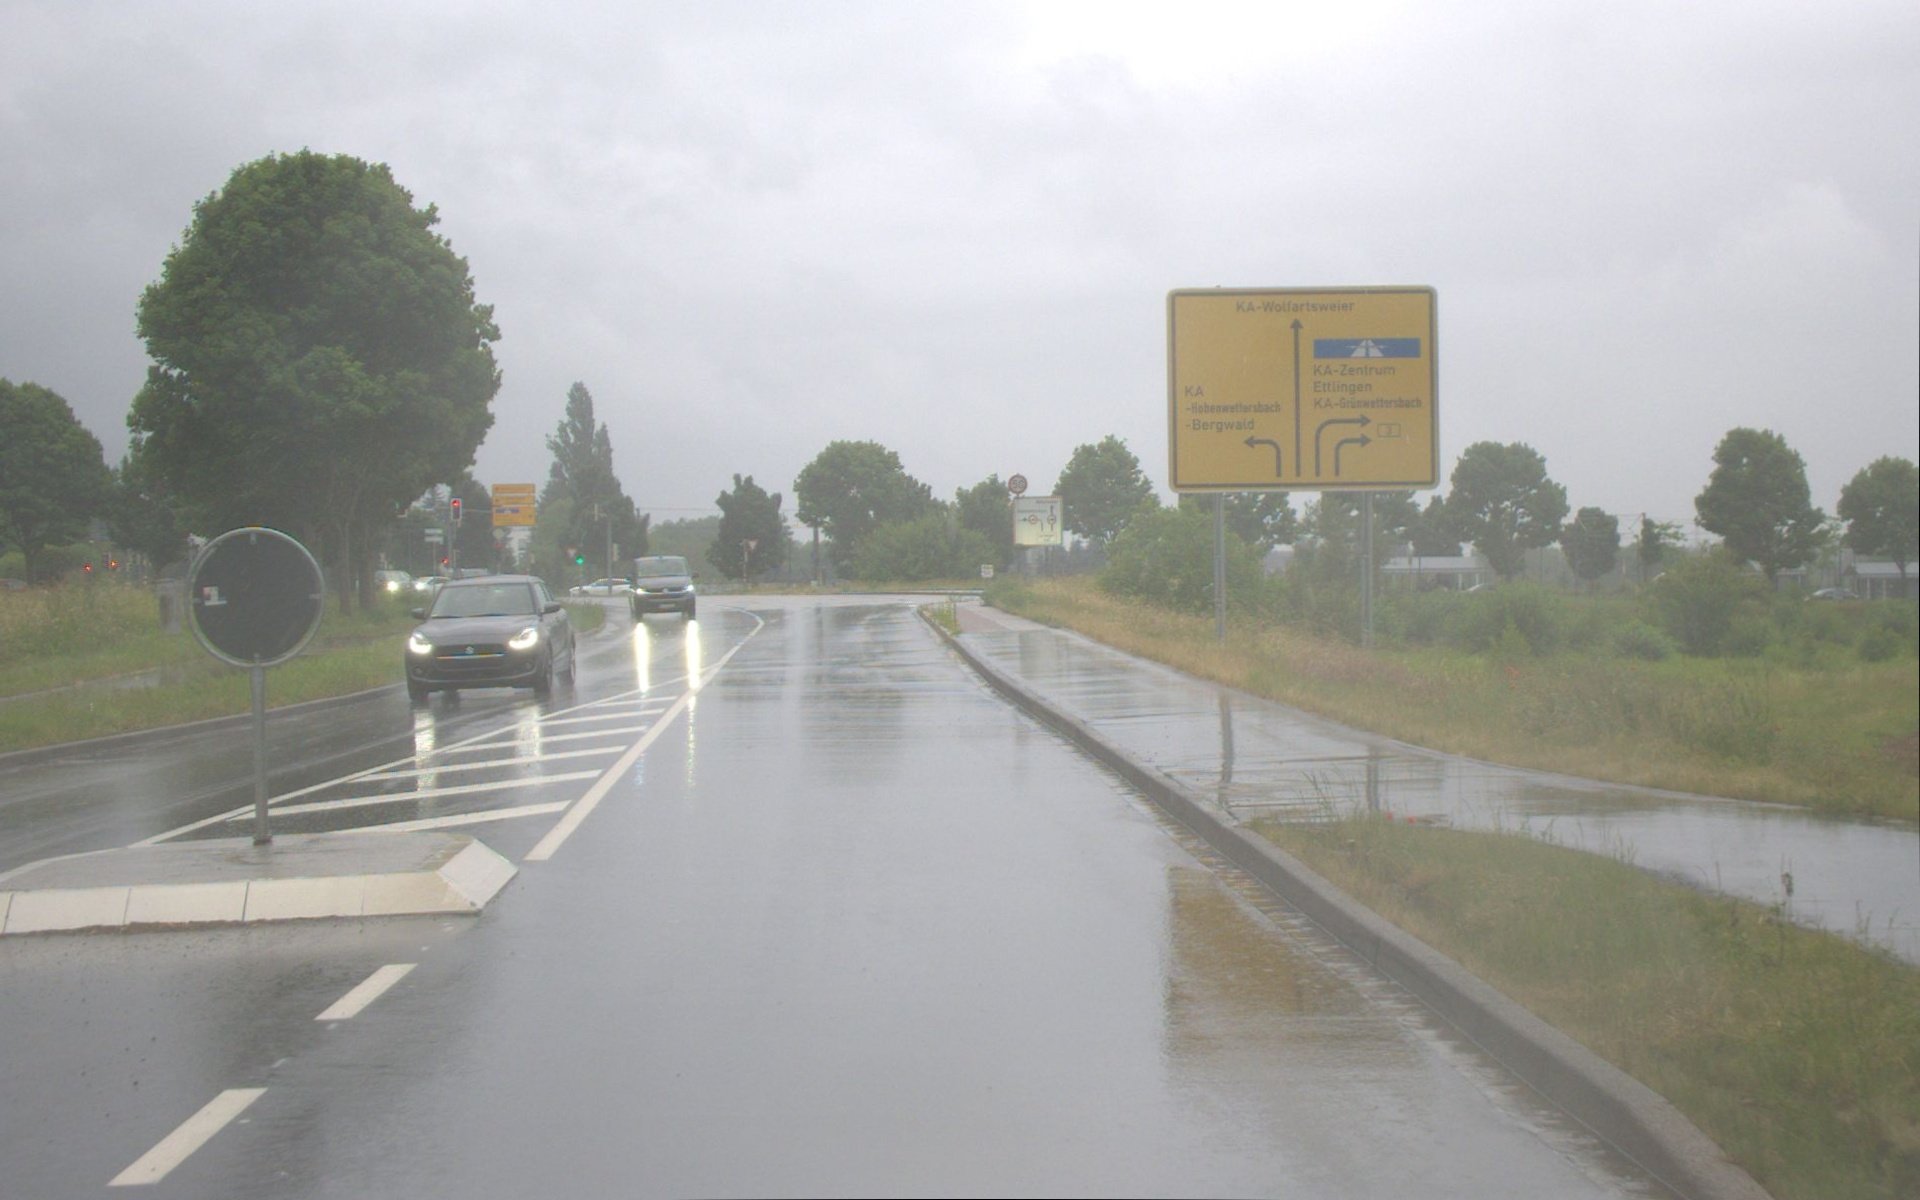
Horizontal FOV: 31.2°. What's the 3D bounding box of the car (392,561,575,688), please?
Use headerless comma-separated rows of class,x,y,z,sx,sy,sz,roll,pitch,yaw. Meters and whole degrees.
car,-5.912,0.272,42.997,1.697,1.397,3.767,-3,1,0

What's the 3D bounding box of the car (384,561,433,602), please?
car,-29.028,-1.004,180.804,1.993,2.007,4.001,2,0,-17

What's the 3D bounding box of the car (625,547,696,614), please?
car,-9.382,-0.633,107.986,1.993,1.965,4.958,-3,1,-3
